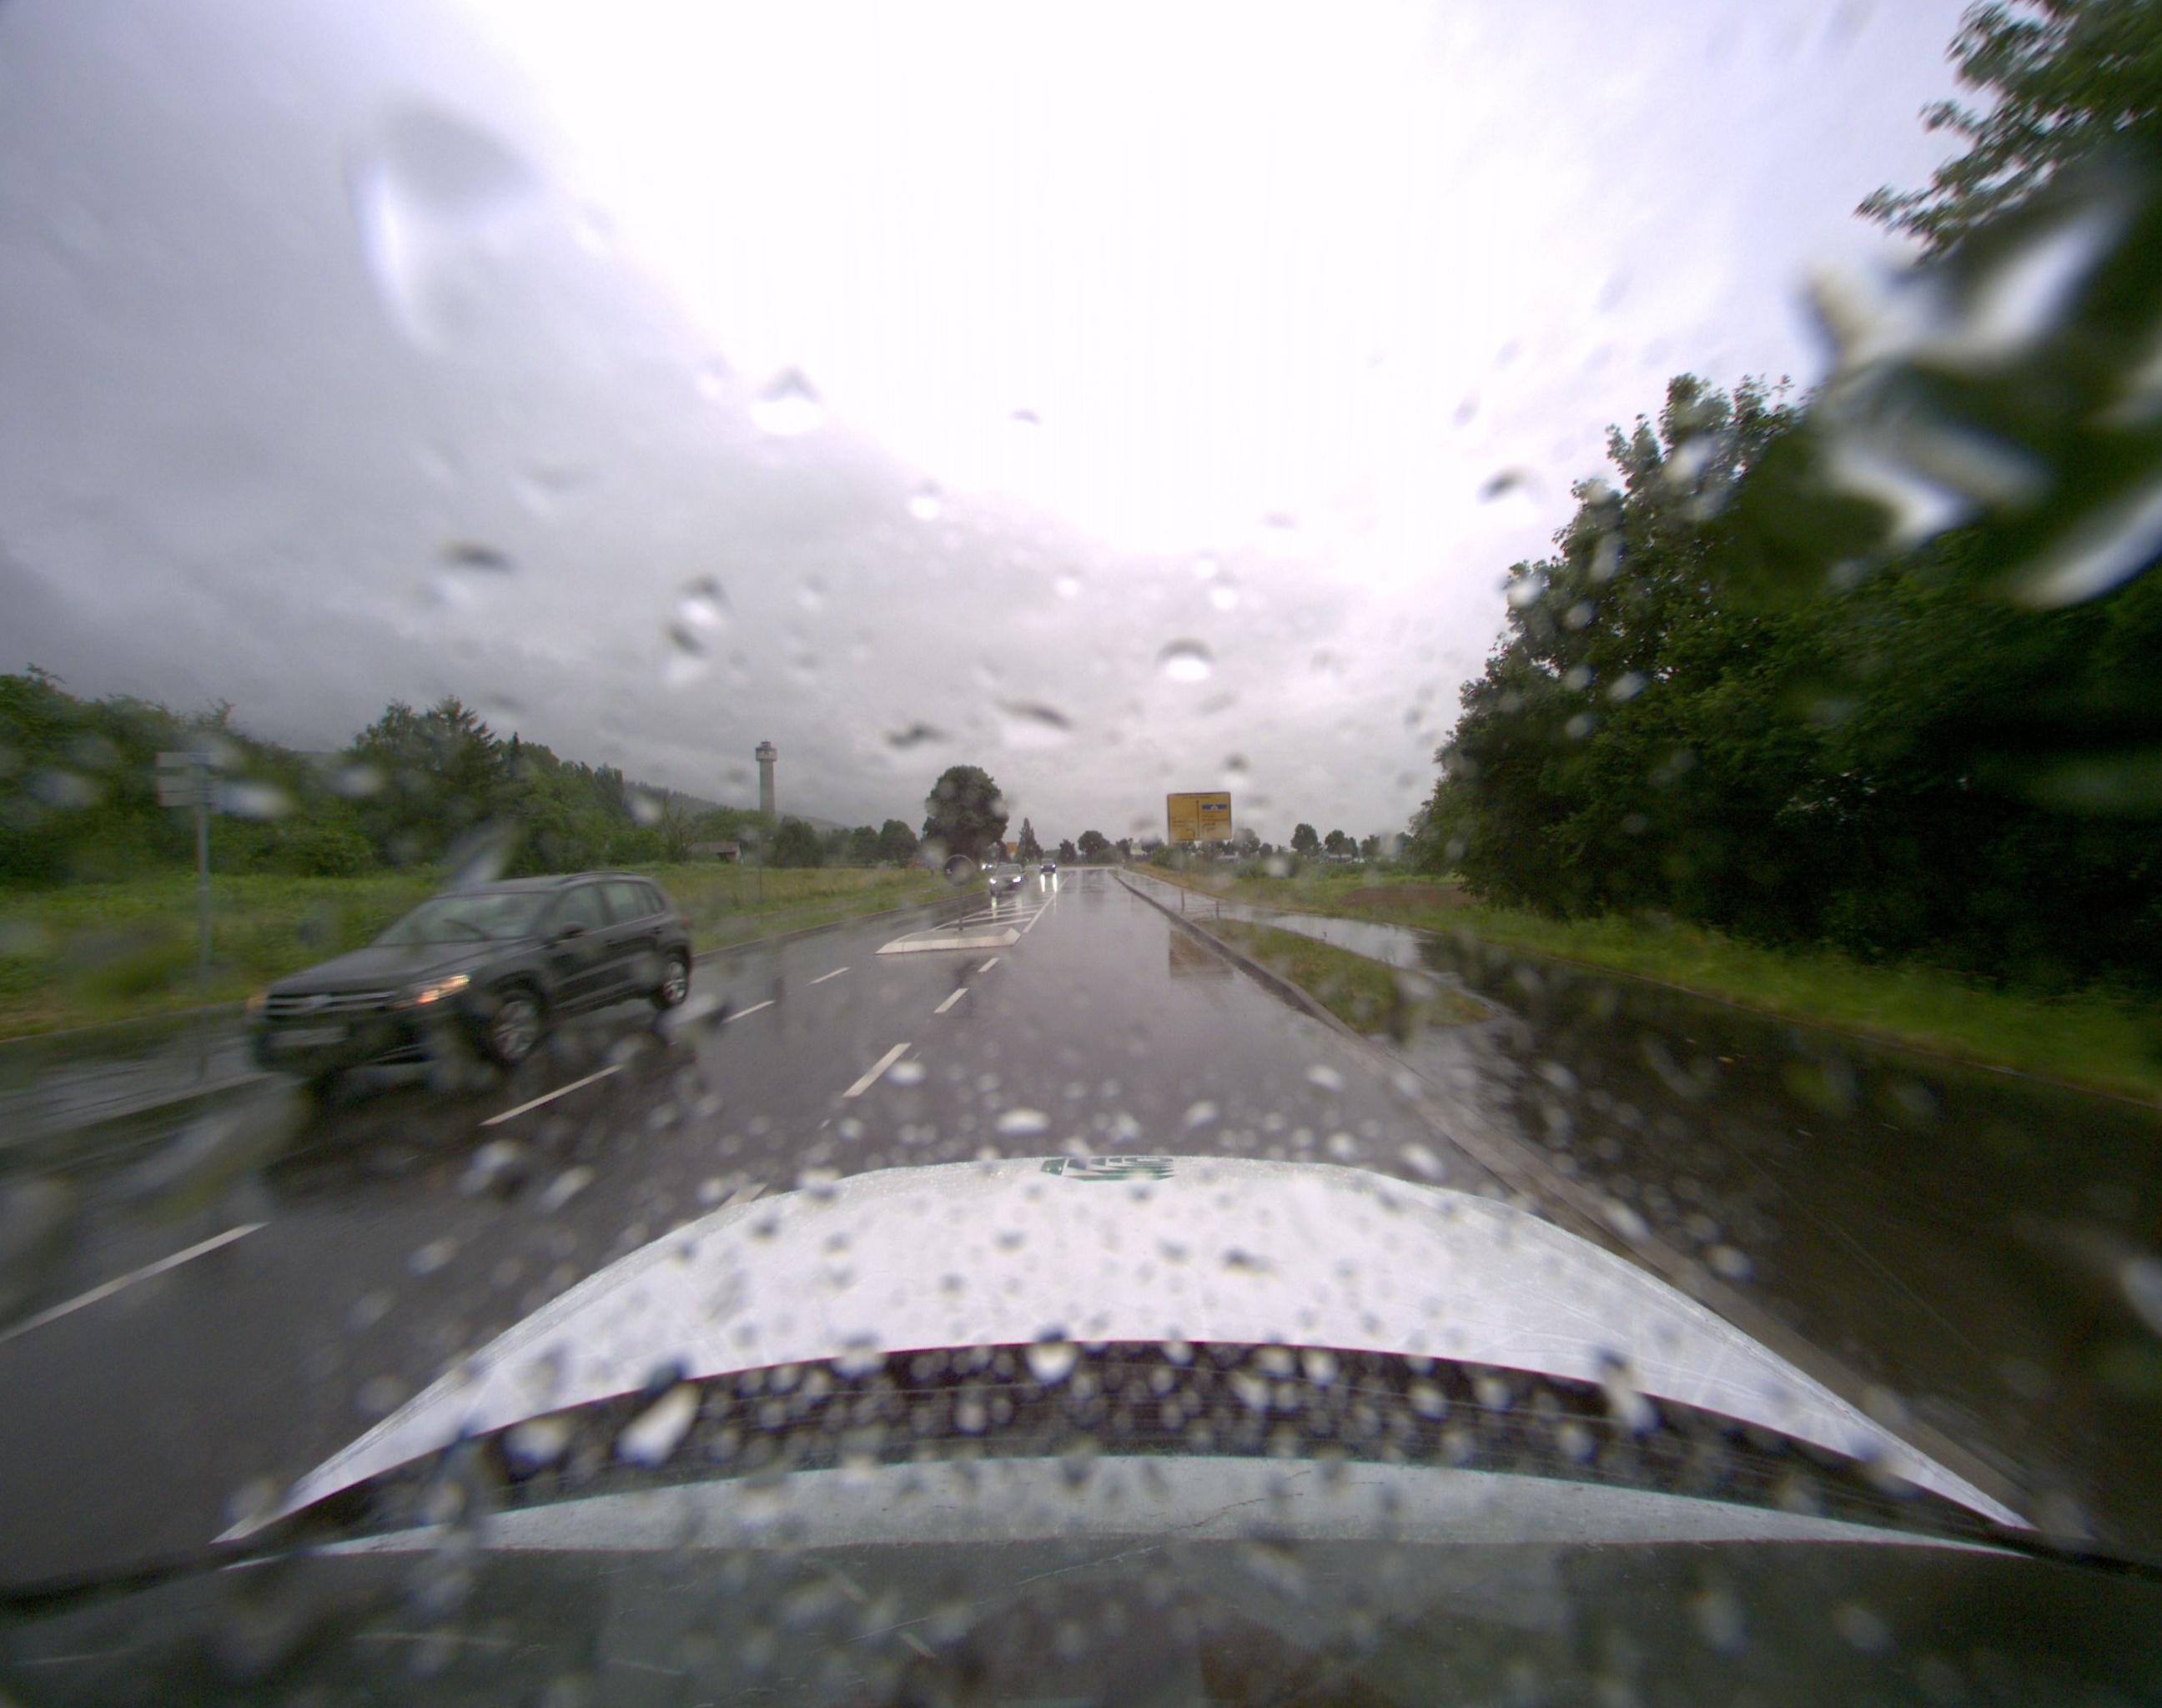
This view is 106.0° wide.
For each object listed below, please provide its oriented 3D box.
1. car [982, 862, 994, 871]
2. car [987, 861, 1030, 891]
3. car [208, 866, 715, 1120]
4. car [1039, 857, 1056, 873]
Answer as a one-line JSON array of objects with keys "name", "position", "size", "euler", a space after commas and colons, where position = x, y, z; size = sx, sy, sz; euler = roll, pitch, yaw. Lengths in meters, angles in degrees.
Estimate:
[{"name": "car", "position": [-20.771, 2.801, 181.526], "size": [1.996, 2.014, 3.981], "euler": [1, -1, -14]}, {"name": "car", "position": [-3.818, 1.132, 43.229], "size": [1.690, 1.402, 3.769], "euler": [-4, 0, 2]}, {"name": "car", "position": [-5.637, 1.081, 8.289], "size": [1.735, 1.718, 4.267], "euler": [-4, 0, 1]}, {"name": "car", "position": [-4.419, 1.455, 108.278], "size": [1.988, 1.972, 4.955], "euler": [-4, 0, -1]}]
